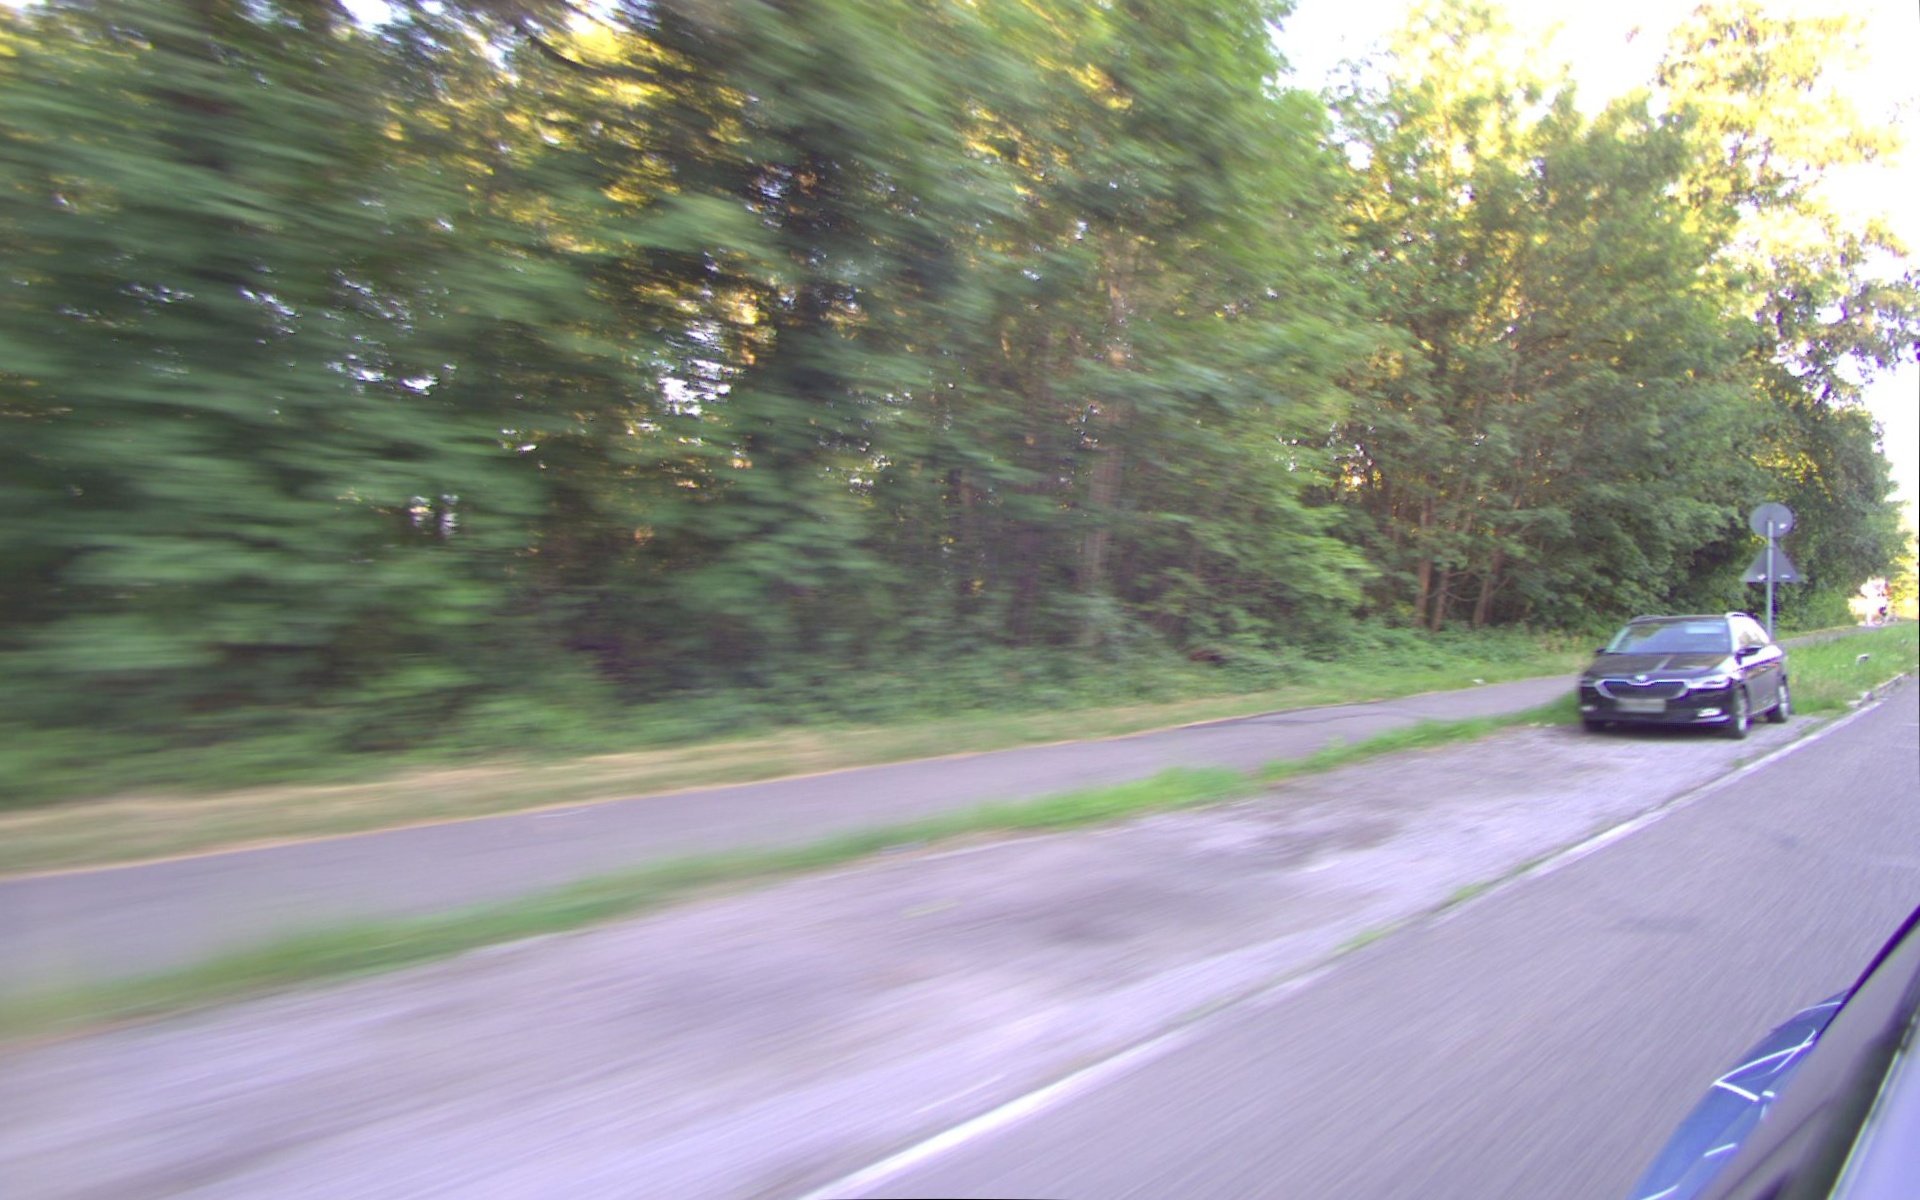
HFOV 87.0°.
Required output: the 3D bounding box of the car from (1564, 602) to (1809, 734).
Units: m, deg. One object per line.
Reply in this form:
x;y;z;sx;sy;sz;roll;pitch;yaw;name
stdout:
9.416;0.774;13.012;3.873;1.423;1.666;0;-2;-41;car
